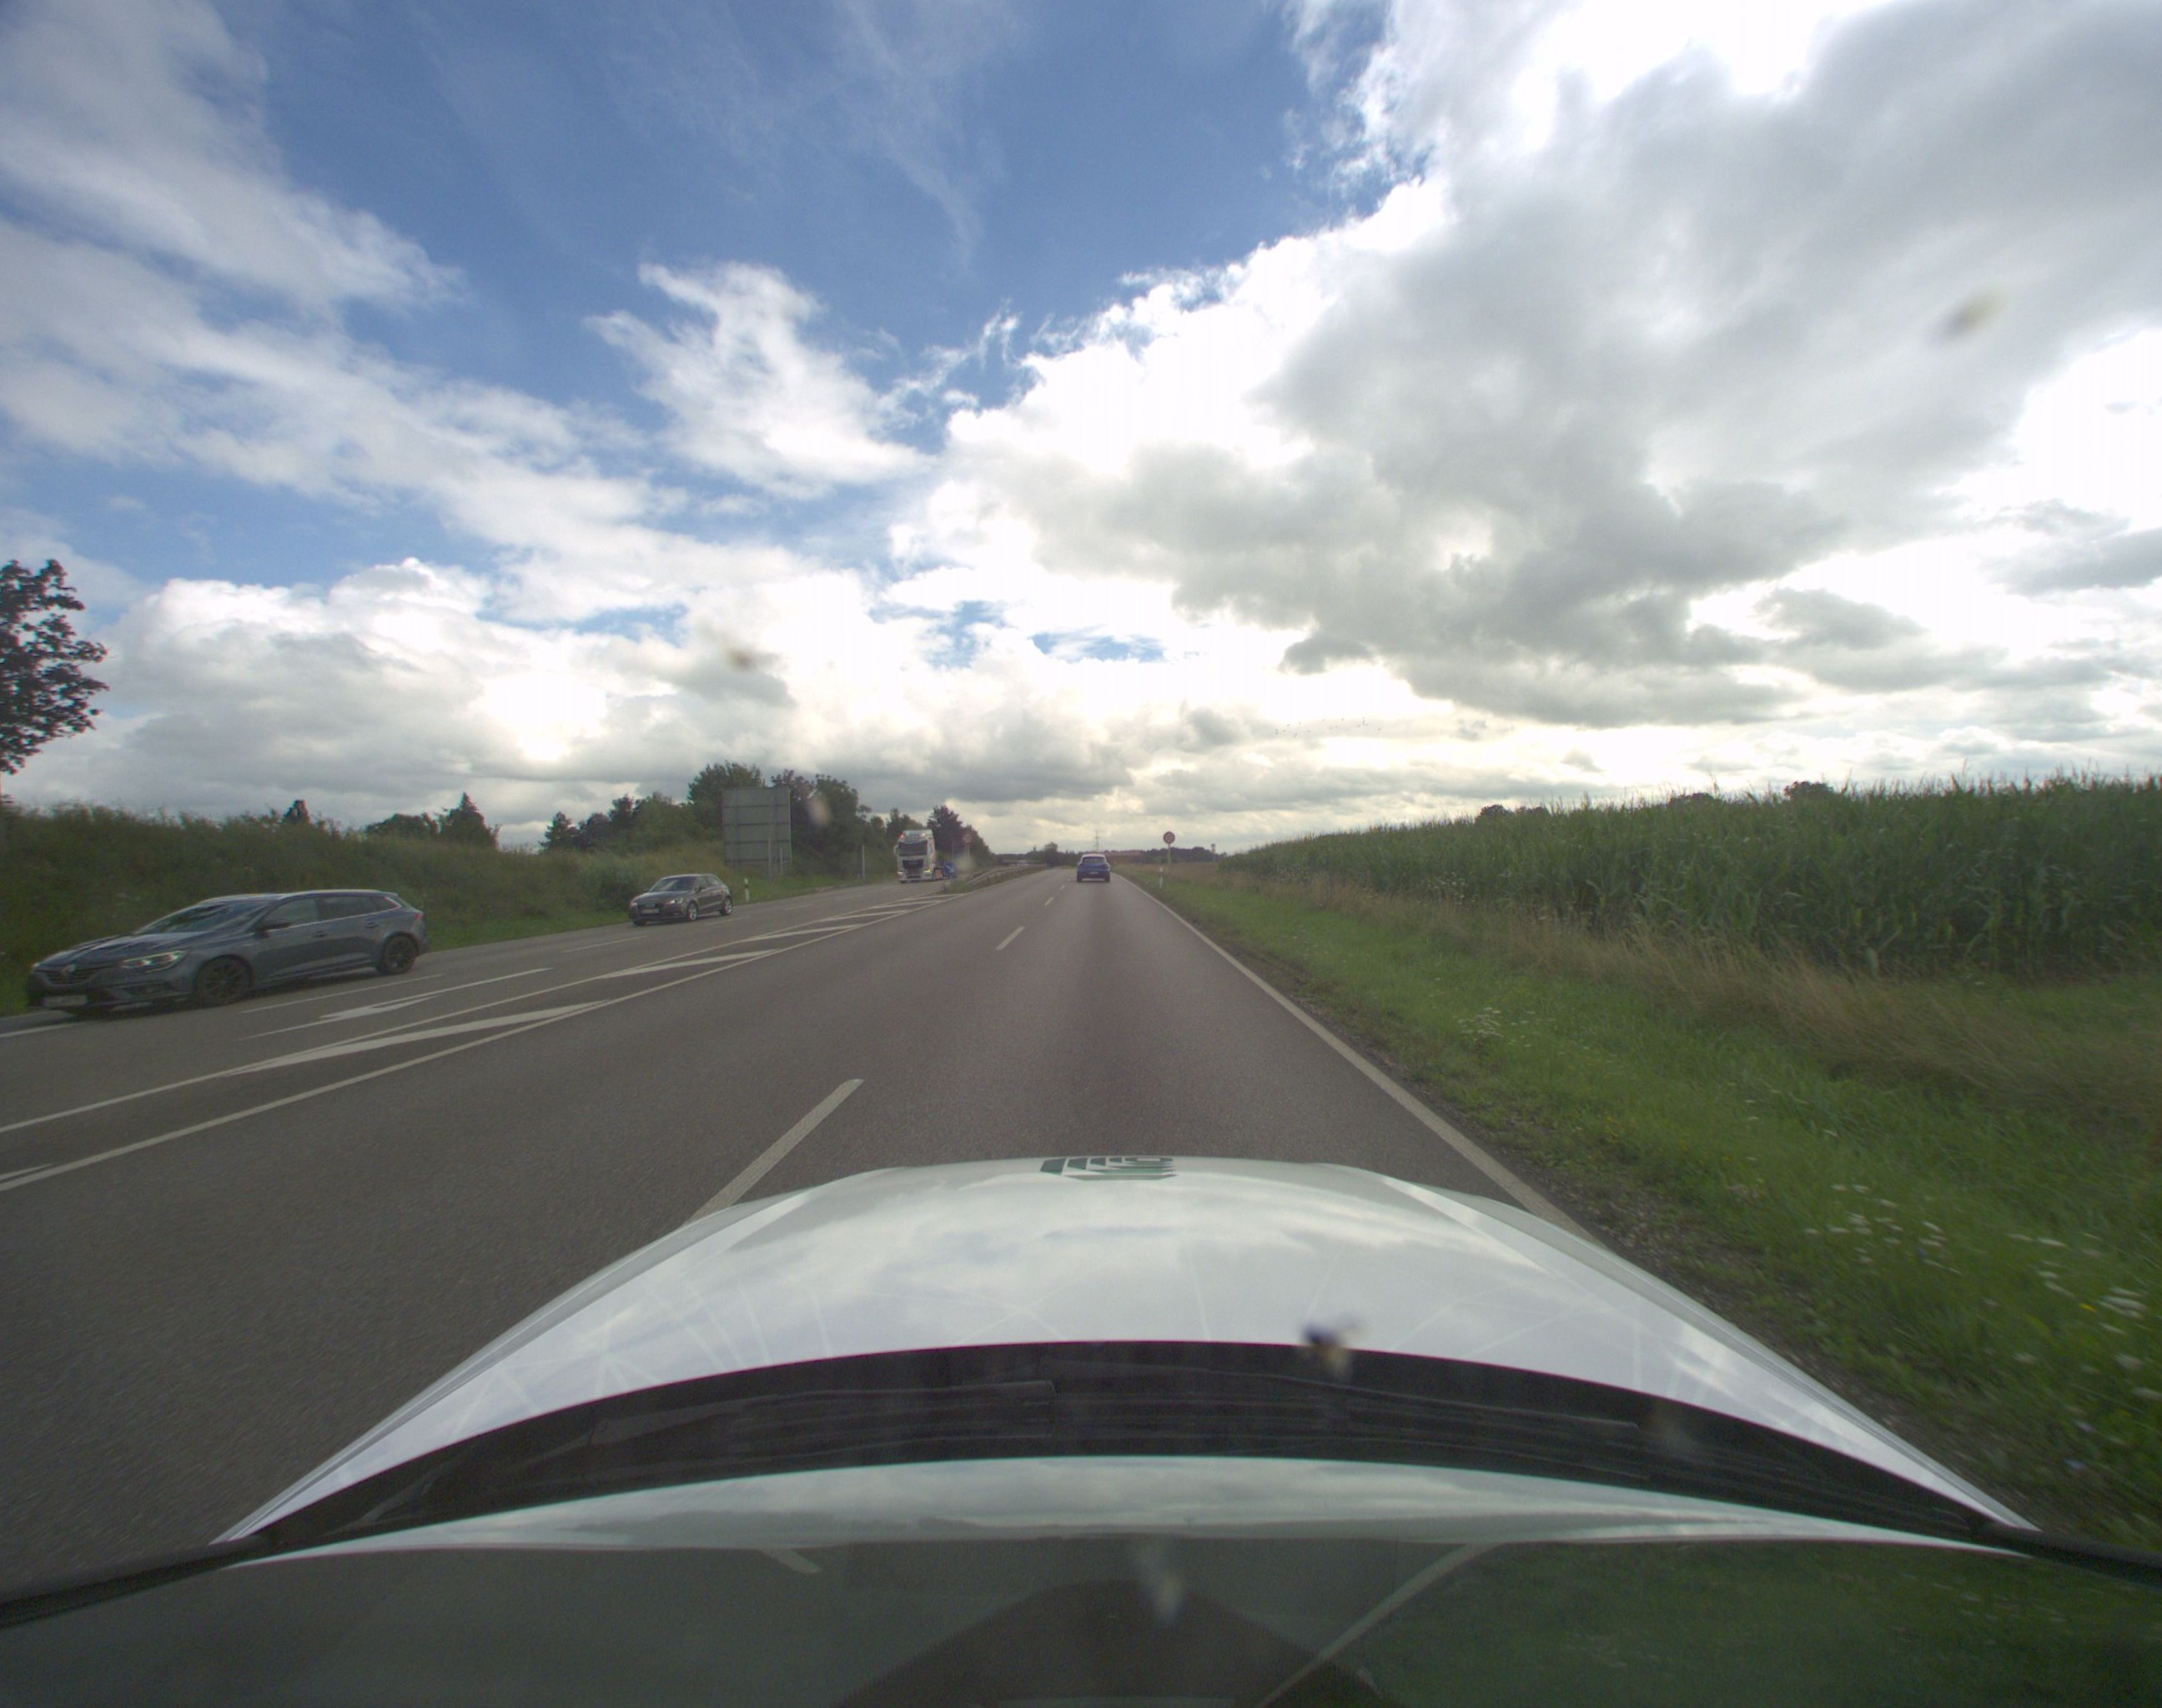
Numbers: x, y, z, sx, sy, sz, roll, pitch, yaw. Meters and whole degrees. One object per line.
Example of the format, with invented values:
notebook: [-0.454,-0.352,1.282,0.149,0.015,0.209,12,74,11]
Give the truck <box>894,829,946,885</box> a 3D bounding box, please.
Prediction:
truck: [-12.202,0.228,62.138,2.794,3.997,5.286,-2,0,0]

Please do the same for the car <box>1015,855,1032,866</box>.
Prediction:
car: [-8.555,1.019,121.136,2.078,1.519,4.194,-2,0,1]

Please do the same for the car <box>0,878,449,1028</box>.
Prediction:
car: [-11.983,1.244,11.996,1.727,1.530,4.548,-3,0,0]

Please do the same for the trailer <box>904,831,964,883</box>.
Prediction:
trailer: [-12.244,0.207,69.270,2.766,3.947,12.982,-2,0,0]

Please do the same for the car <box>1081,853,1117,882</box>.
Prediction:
car: [0.997,0.771,48.085,2.027,1.660,4.542,0,0,0]

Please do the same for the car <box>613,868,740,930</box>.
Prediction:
car: [-12.192,1.302,24.881,1.727,1.530,4.193,-3,0,0]
